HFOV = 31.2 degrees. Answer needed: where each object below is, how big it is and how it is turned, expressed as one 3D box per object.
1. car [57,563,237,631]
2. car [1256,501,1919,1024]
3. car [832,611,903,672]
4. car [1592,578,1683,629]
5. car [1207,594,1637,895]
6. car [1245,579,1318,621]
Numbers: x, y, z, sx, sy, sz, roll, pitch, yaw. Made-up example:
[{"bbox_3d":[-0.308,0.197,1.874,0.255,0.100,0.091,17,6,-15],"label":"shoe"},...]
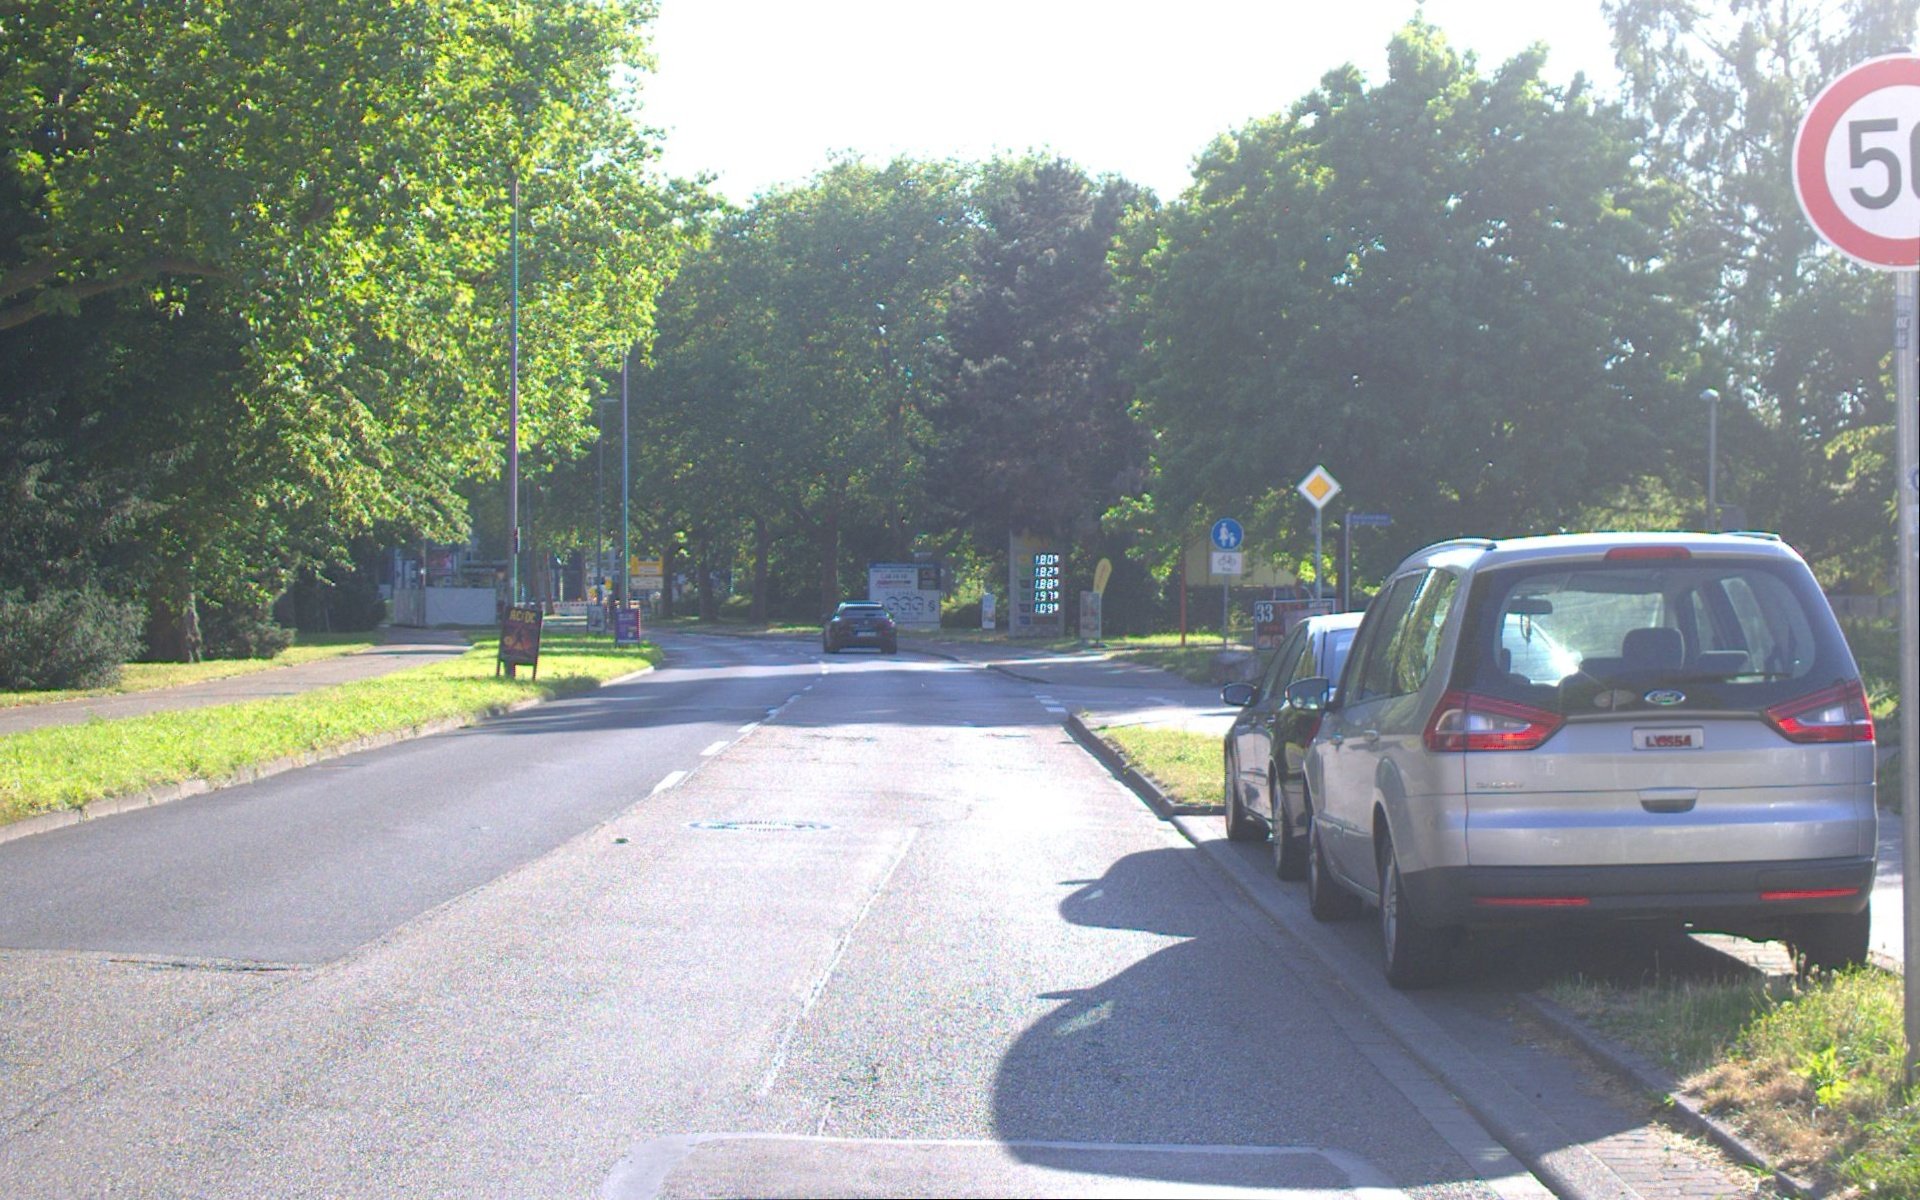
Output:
[{"bbox_3d":[-19.434,-0.079,82.308,3.986,1.503,1.913,2,0,-7],"label":"car"},{"bbox_3d":[2.543,0.568,14.639,1.993,1.753,4.917,-3,0,-1],"label":"car"},{"bbox_3d":[-2.516,1.111,94.140,1.839,1.600,3.863,0,0,0],"label":"car"},{"bbox_3d":[23.868,0.114,121.239,1.812,1.722,4.399,2,0,-7],"label":"car"},{"bbox_3d":[2.524,0.734,19.887,1.782,1.510,4.689,-1,0,-1],"label":"car"},{"bbox_3d":[11.165,-0.011,119.632,1.841,1.415,4.001,0,0,-5],"label":"car"}]
